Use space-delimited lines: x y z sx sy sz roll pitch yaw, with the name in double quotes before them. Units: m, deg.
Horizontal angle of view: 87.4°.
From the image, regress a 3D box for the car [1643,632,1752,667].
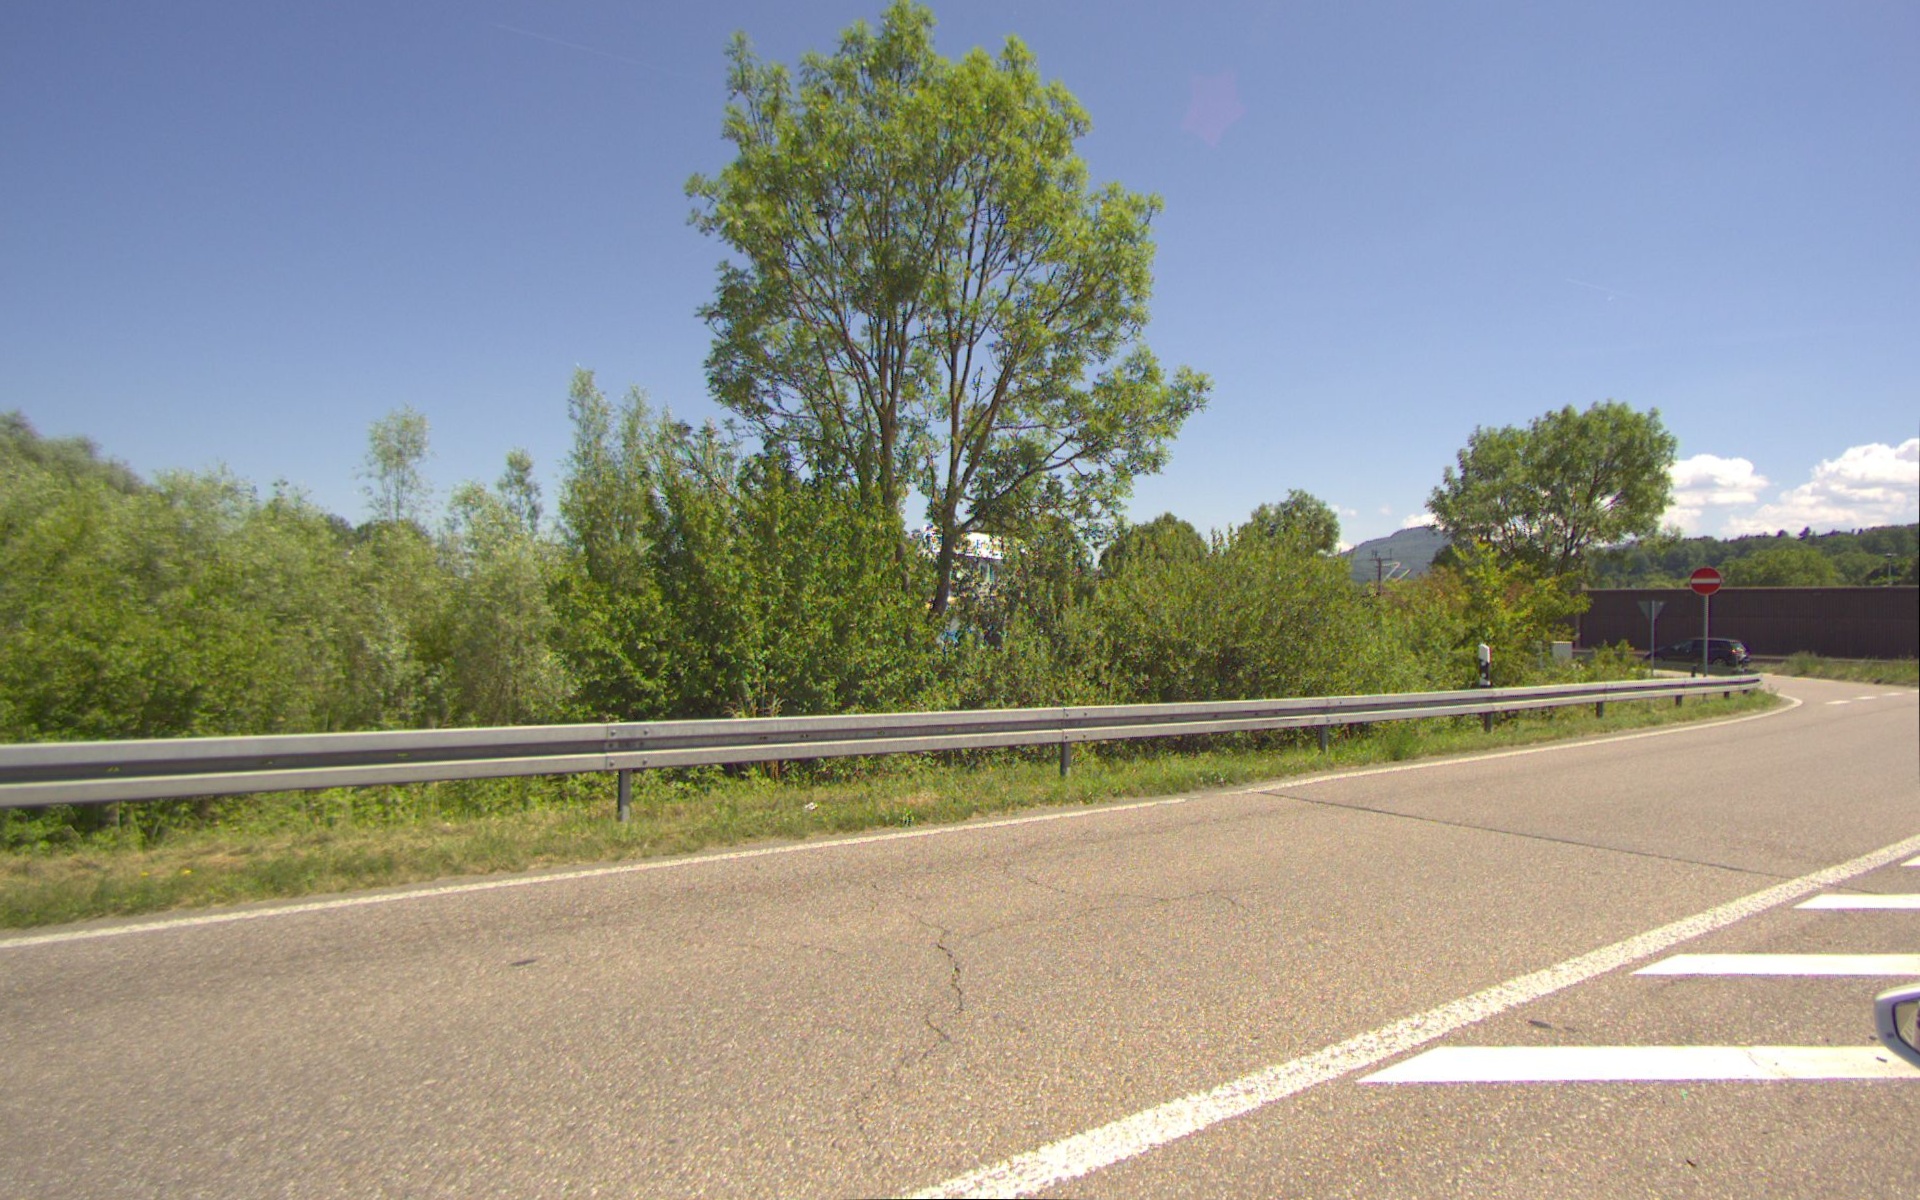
"car" 36.677 2.427 50.019 1.980 1.505 3.960 2 0 -35
